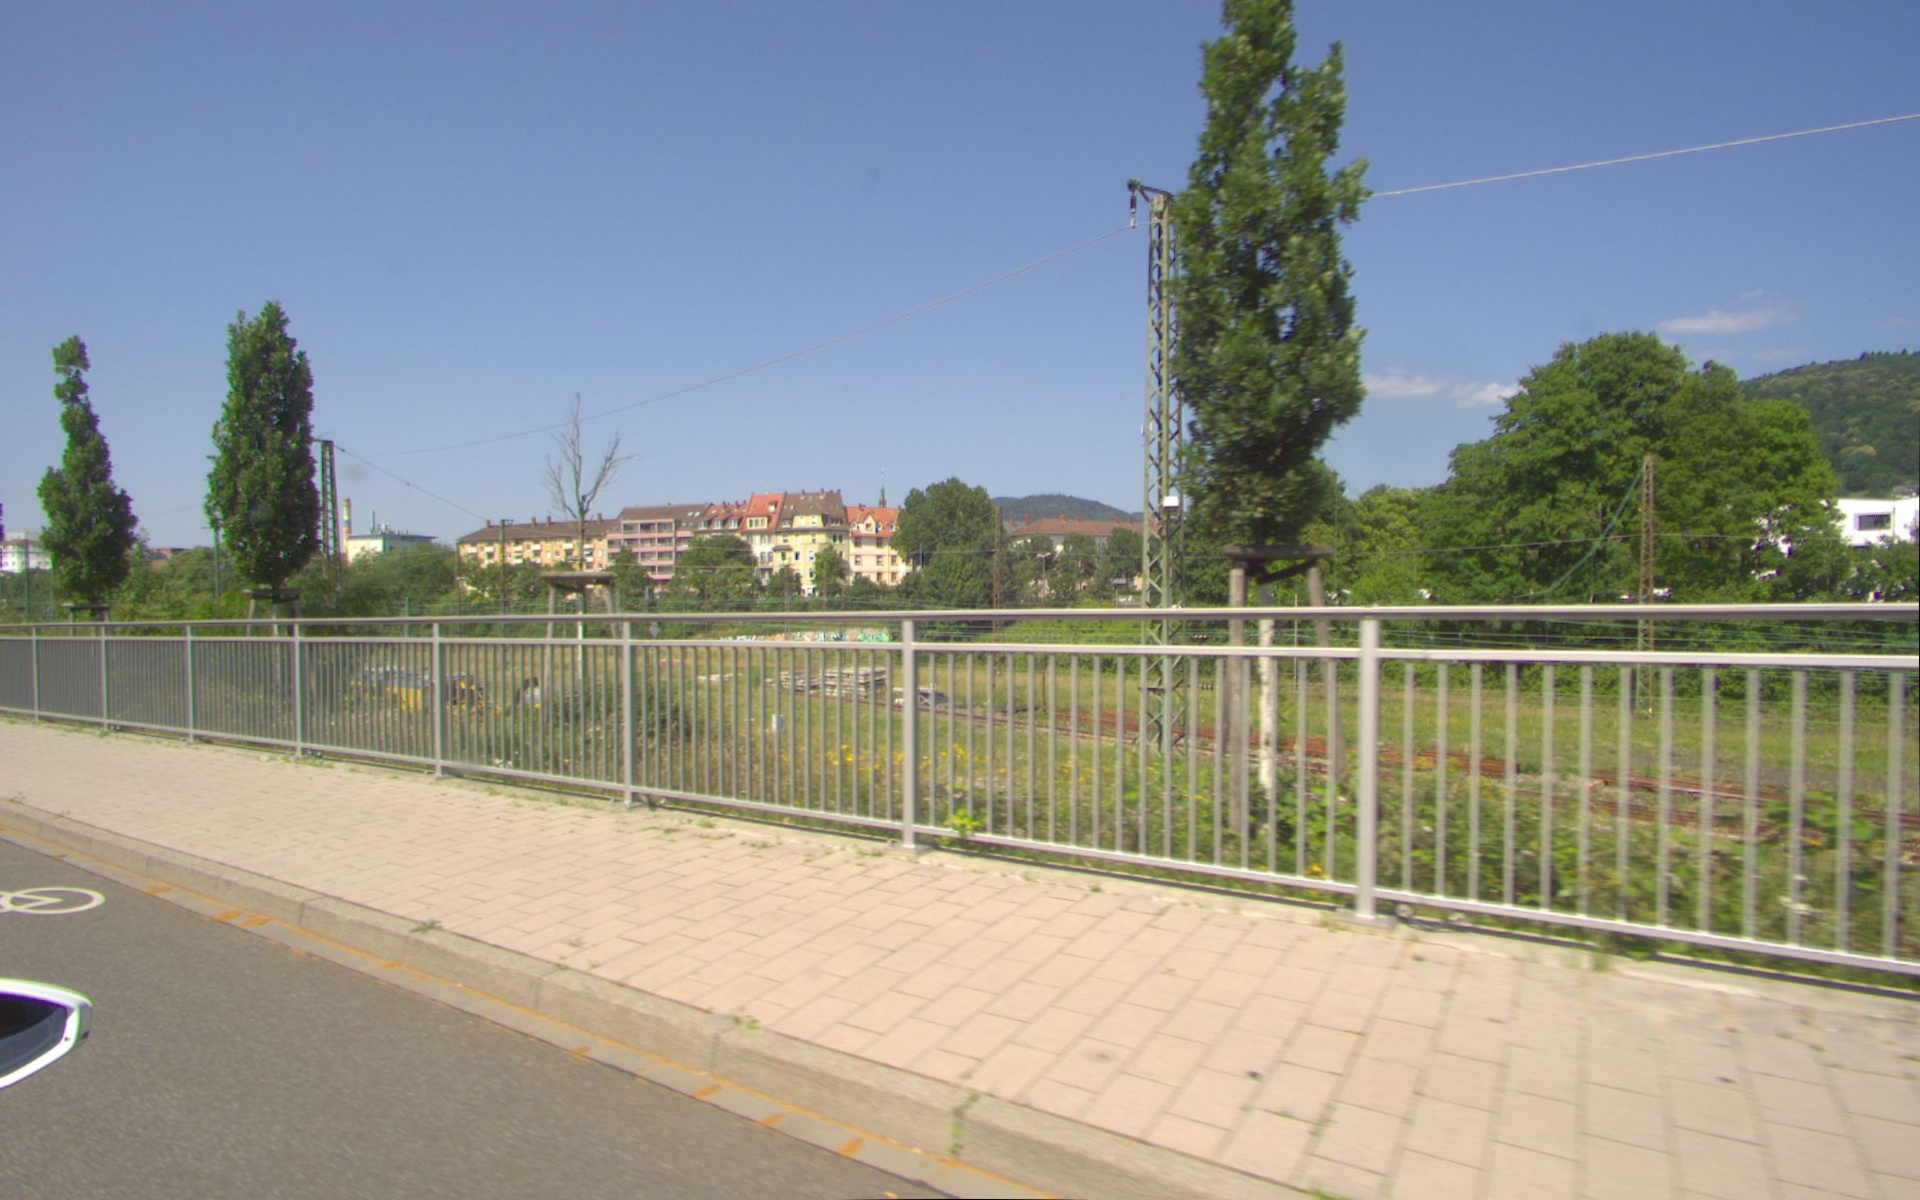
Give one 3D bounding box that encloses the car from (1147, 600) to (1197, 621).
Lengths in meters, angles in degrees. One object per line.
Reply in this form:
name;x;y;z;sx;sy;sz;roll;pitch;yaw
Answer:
car;22.603;1.086;106.812;4.929;2.141;1.985;0;1;39
